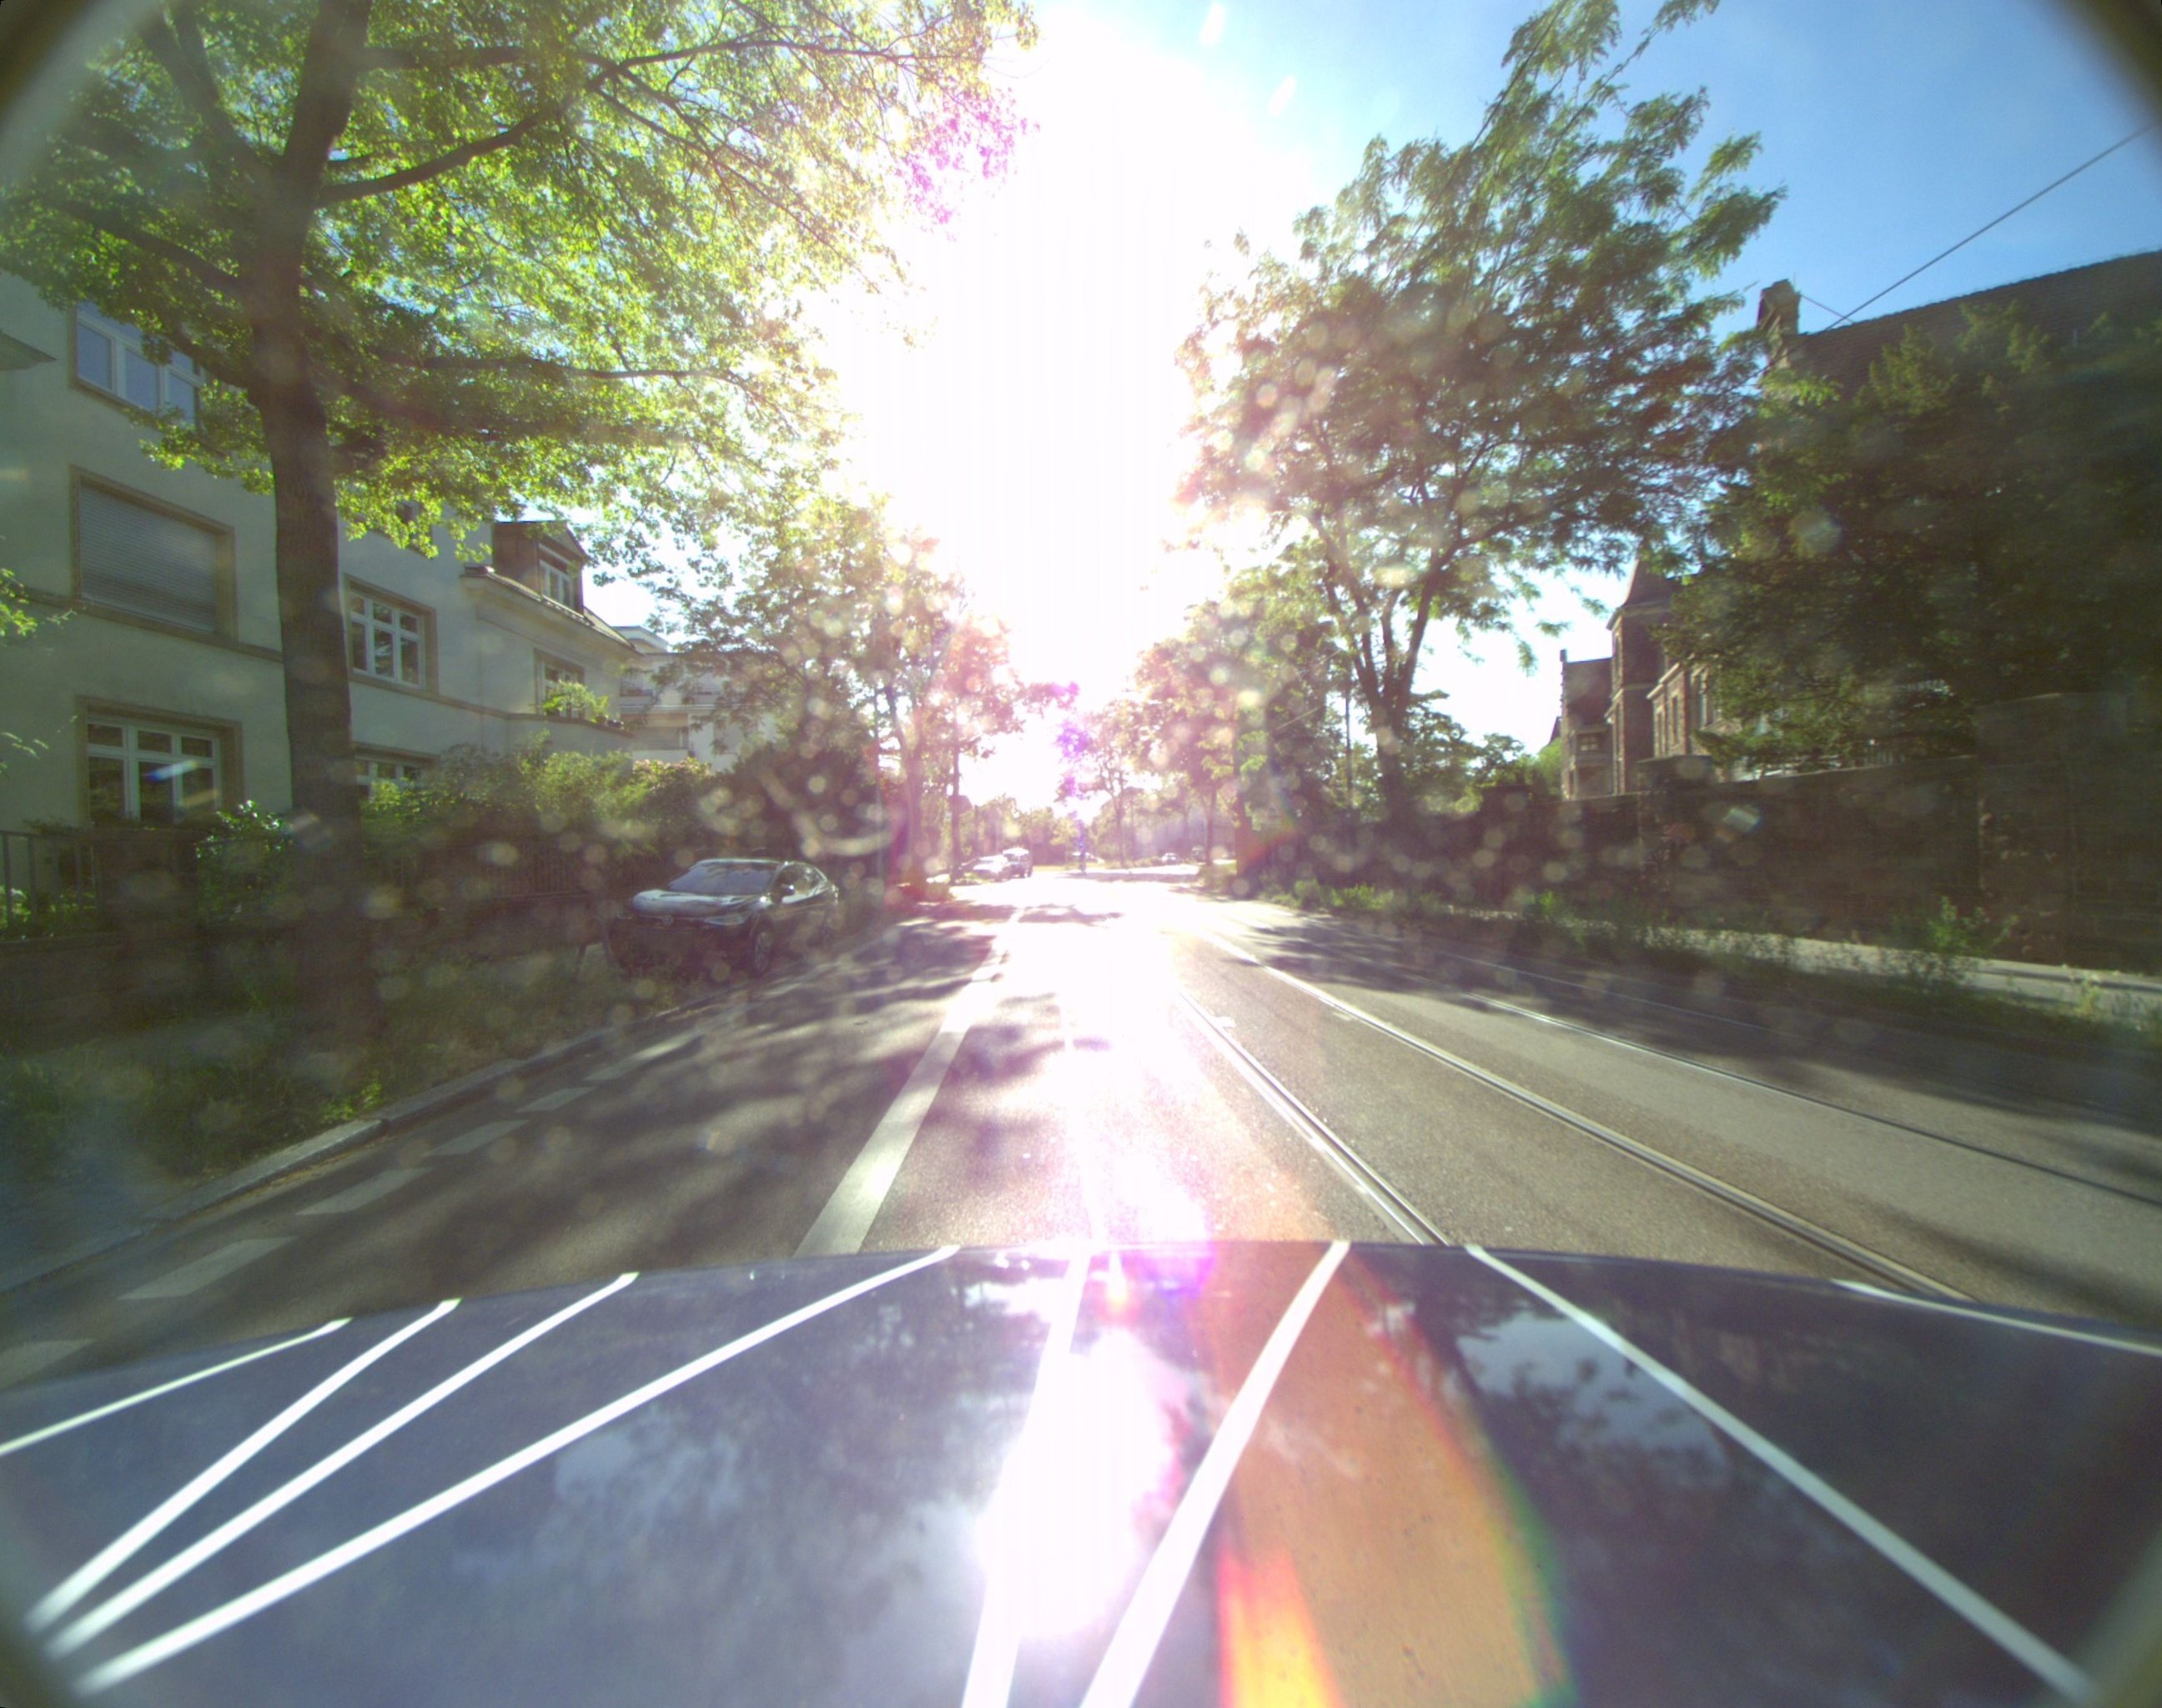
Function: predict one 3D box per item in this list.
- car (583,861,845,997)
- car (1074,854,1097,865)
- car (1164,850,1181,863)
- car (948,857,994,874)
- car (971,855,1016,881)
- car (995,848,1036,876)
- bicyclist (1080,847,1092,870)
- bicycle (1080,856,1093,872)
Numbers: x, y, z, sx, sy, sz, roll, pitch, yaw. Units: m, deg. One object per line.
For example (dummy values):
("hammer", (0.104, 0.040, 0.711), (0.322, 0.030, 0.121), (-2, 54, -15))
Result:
("car", (-5.197, 0.949, 11.521), (1.919, 1.590, 4.258), (2, 0, -1))
("car", (0.751, 0.911, 128.803), (3.908, 1.683, 1.905), (-1, 1, -1))
("car", (11.914, 0.311, 98.735), (1.997, 1.539, 4.002), (-2, 0, 8))
("car", (-10.042, 1.044, 69.552), (3.998, 1.433, 1.813), (-2, 0, -3))
("car", (-5.164, 0.794, 45.347), (1.901, 1.402, 4.260), (-1, 0, 4))
("car", (-4.402, 0.505, 51.703), (1.900, 1.775, 4.670), (-1, 0, 6))
("bicyclist", (0.356, 0.307, 55.389), (0.643, 1.632, 0.666), (-2, 1, 12))
("bicycle", (0.396, 0.715, 55.507), (0.588, 1.105, 1.856), (-2, 0, 11))
